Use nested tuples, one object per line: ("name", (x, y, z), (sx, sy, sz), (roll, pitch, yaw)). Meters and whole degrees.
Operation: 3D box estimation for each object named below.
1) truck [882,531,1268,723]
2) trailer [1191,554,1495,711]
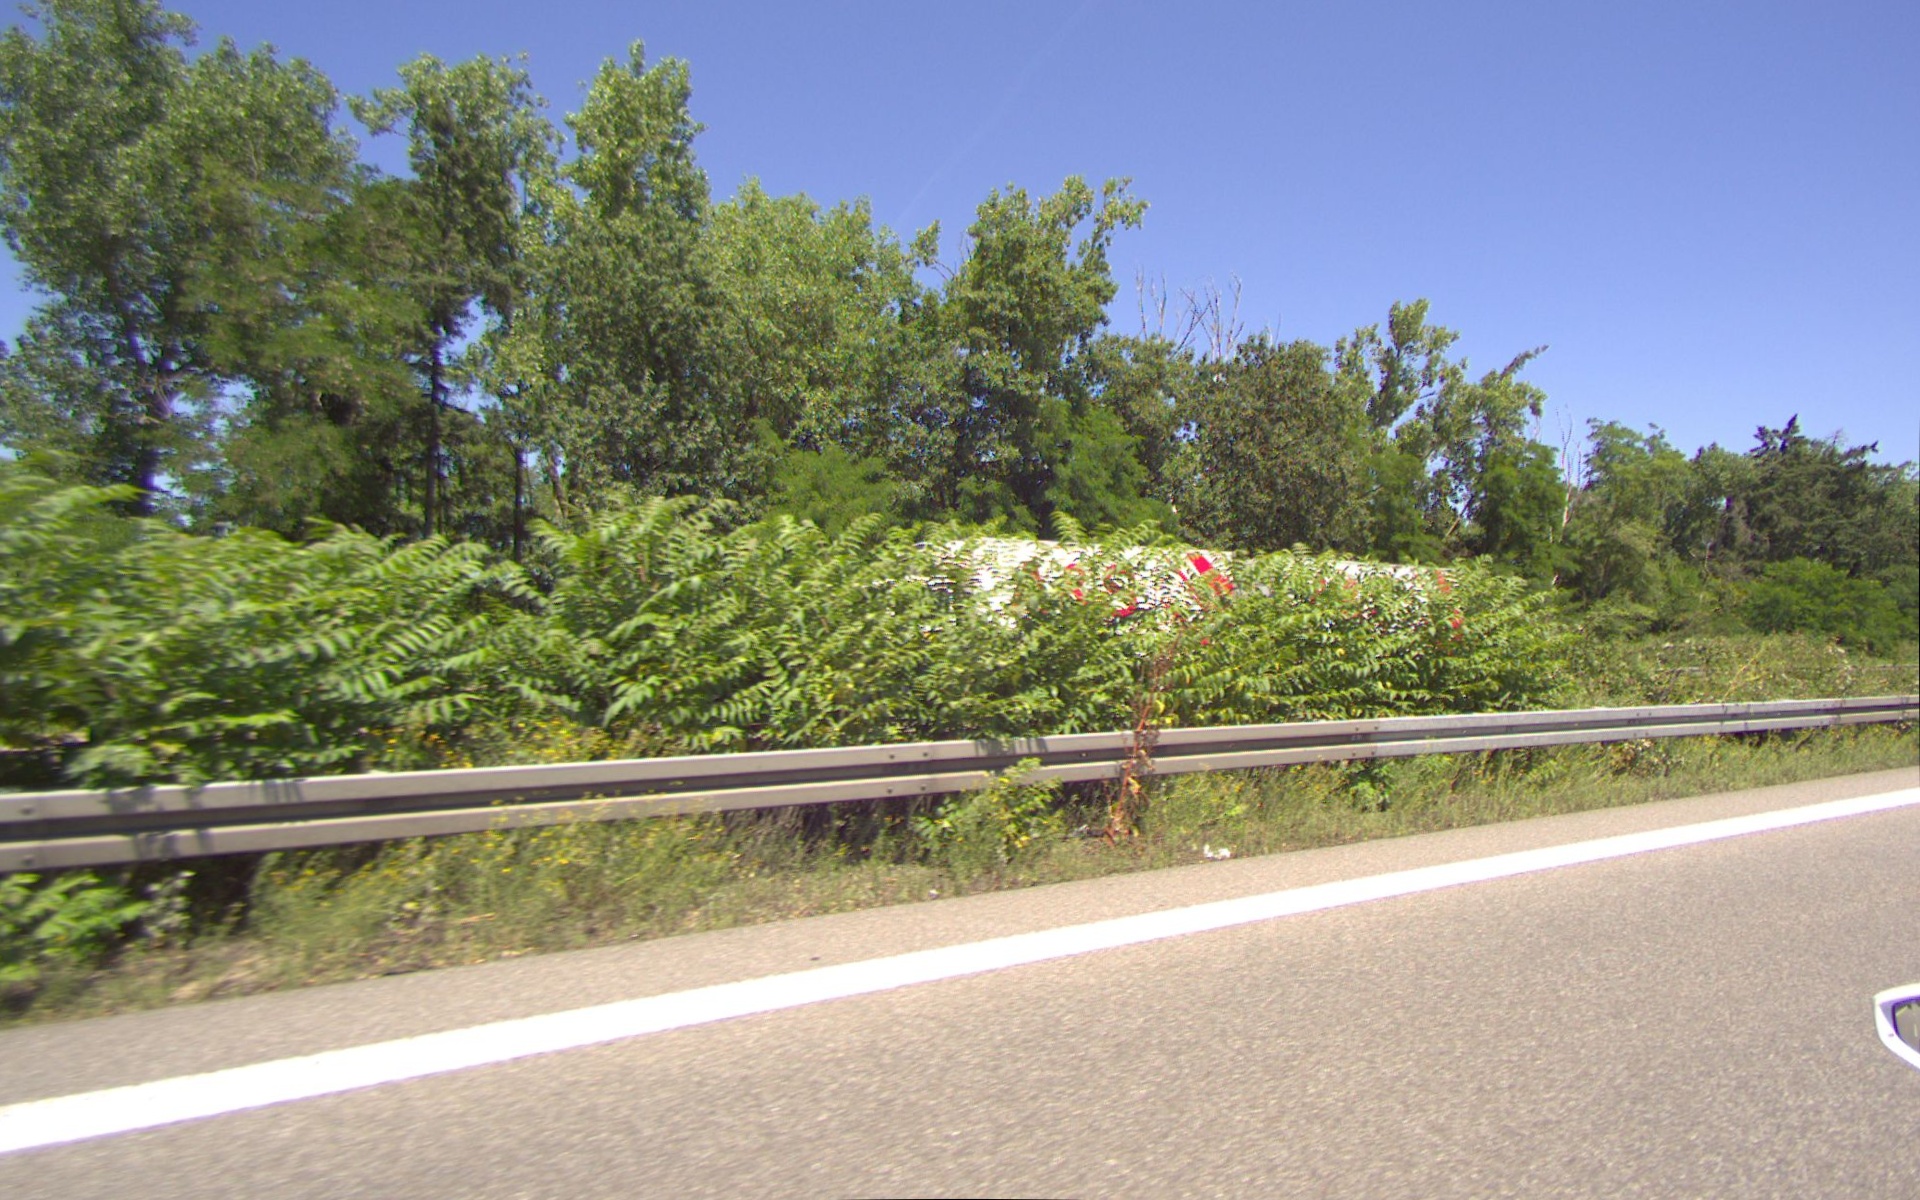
("truck", (2.930, 0.716, 23.815), (9.164, 3.878, 2.913), (2, -2, -30))
("trailer", (10.991, 0.975, 28.451), (9.164, 3.878, 2.913), (2, -2, -30))
